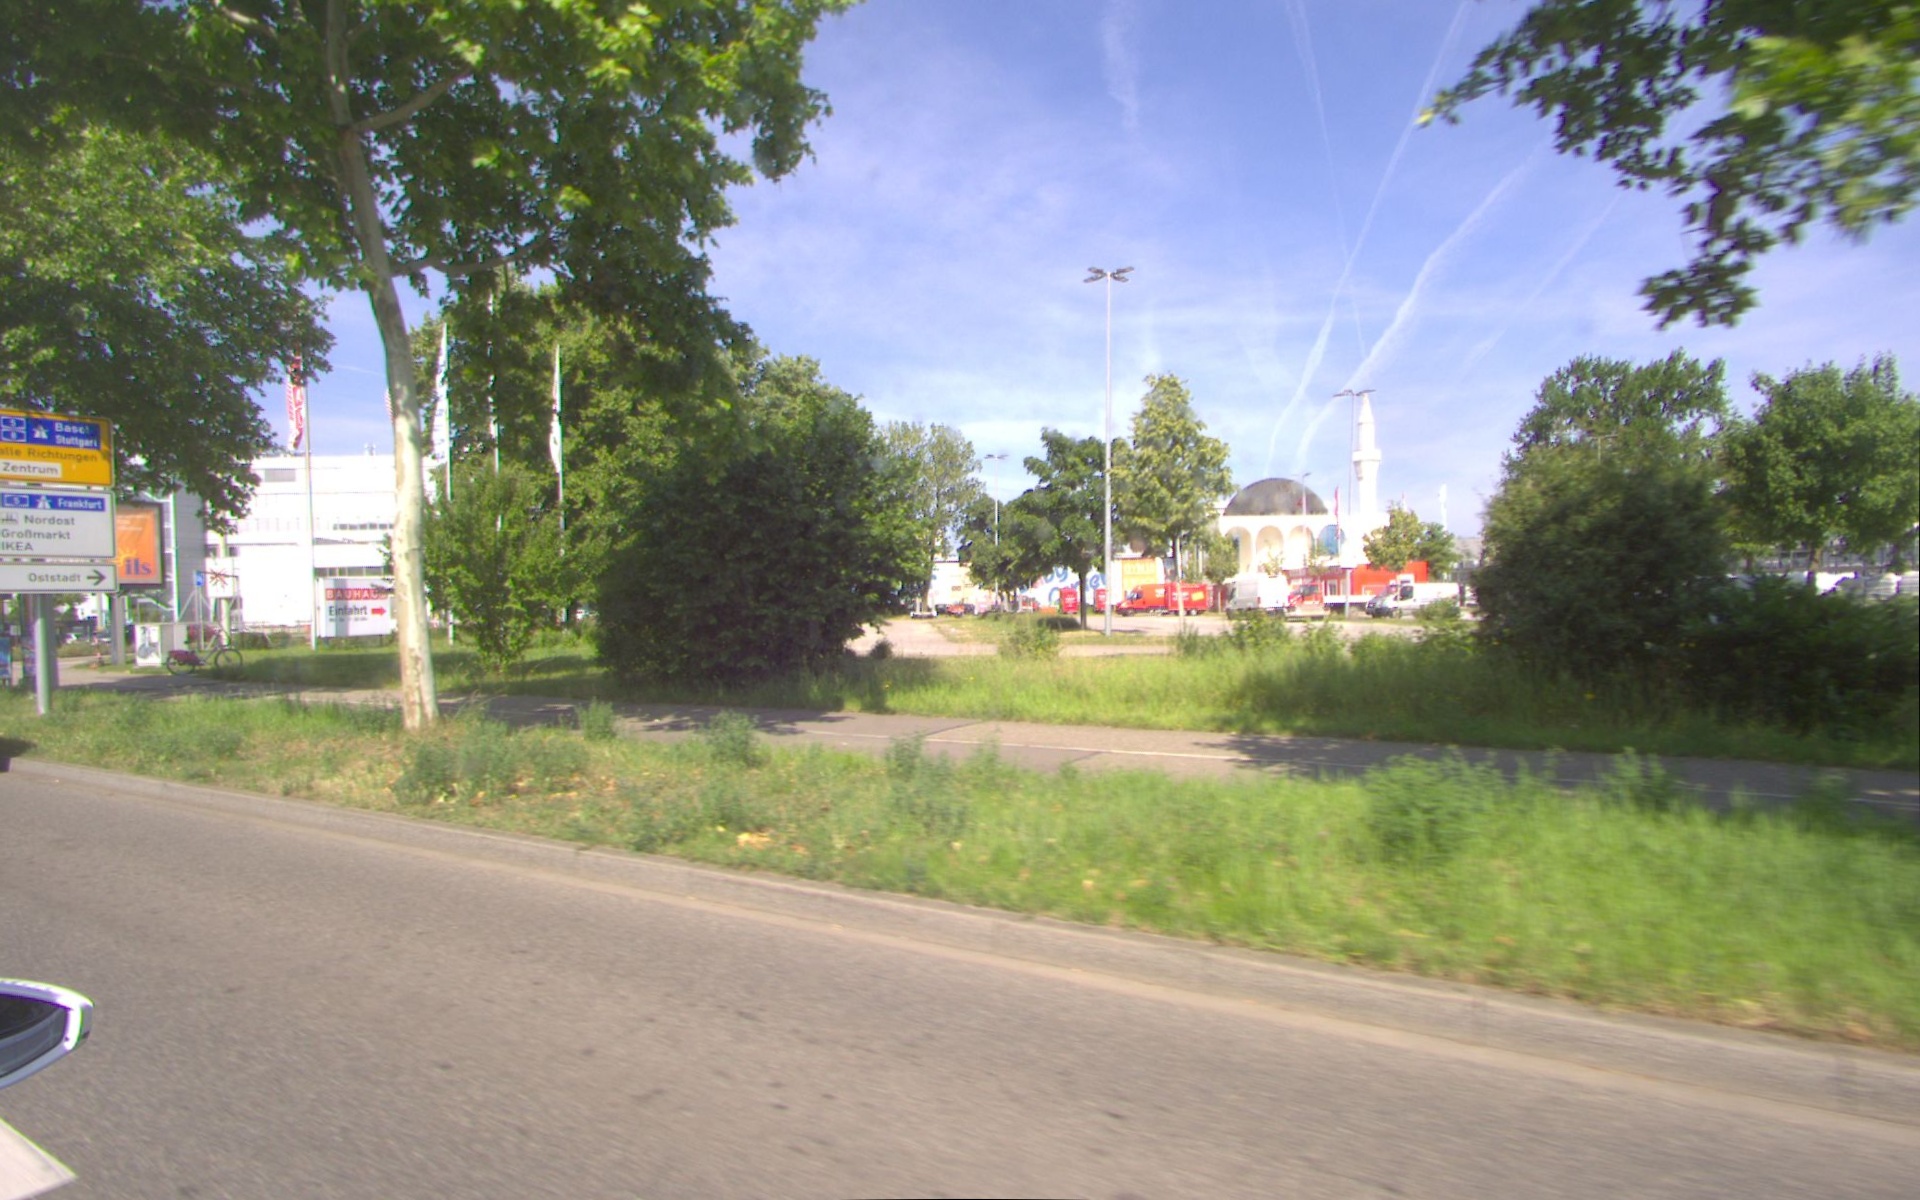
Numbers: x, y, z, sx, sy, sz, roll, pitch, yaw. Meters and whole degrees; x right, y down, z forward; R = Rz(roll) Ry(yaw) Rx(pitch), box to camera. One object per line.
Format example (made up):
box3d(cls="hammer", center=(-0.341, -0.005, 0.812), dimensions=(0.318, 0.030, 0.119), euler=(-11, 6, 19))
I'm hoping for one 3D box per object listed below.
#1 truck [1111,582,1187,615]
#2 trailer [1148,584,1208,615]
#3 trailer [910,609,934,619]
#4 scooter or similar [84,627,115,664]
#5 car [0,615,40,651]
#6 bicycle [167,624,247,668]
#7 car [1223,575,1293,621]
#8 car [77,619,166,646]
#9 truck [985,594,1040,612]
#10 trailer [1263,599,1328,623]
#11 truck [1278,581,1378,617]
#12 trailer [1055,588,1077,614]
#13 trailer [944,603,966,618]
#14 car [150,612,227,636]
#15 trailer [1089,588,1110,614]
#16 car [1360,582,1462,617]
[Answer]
box3d(cls="truck", center=(15.760, -0.125, 83.621), dimensions=(5.914, 2.644, 2.019), euler=(-1, 0, -6))
box3d(cls="trailer", center=(16.939, -0.047, 77.884), dimensions=(4.325, 2.408, 1.751), euler=(-1, 1, 0))
box3d(cls="trailer", center=(-3.512, 1.282, 93.334), dimensions=(2.059, 0.792, 4.411), euler=(-1, 0, 0))
box3d(cls="scooter or similar", center=(-27.438, 1.437, 31.922), dimensions=(1.107, 1.141, 0.423), euler=(-1, 1, 32))
box3d(cls="car", center=(-47.694, 1.643, 48.654), dimensions=(1.879, 1.711, 4.625), euler=(-1, 0, -4))
box3d(cls="bicycle", center=(-21.346, 1.298, 28.407), dimensions=(1.771, 1.123, 0.499), euler=(-3, 2, -40))
box3d(cls="car", center=(17.954, -0.090, 60.655), dimensions=(1.980, 2.575, 5.687), euler=(-3, 0, -6))
box3d(cls="car", center=(-51.295, 1.976, 61.405), dimensions=(1.747, 1.463, 4.625), euler=(-1, 0, -4))
box3d(cls="truck", center=(5.787, 0.367, 111.354), dimensions=(5.888, 1.854, 2.188), euler=(0, -2, -3))
box3d(cls="trailer", center=(18.379, 0.602, 55.063), dimensions=(2.029, 1.137, 4.031), euler=(-3, 0, -2))
box3d(cls="truck", center=(24.059, -0.075, 65.620), dimensions=(5.751, 2.168, 2.066), euler=(-1, 0, -1))
box3d(cls="trailer", center=(10.172, 0.096, 96.242), dimensions=(1.560, 2.408, 4.410), euler=(-1, 1, -1))
box3d(cls="trailer", center=(-0.500, 0.954, 94.084), dimensions=(1.560, 1.304, 4.410), euler=(-1, 0, -7))
box3d(cls="car", center=(-51.561, 1.605, 67.043), dimensions=(1.747, 1.463, 4.625), euler=(-1, 0, -4))
box3d(cls="trailer", center=(13.320, 0.085, 95.624), dimensions=(1.520, 2.390, 4.410), euler=(0, 1, 2))
box3d(cls="car", center=(24.646, -0.040, 54.796), dimensions=(4.737, 1.841, 1.873), euler=(0, 2, -6))
